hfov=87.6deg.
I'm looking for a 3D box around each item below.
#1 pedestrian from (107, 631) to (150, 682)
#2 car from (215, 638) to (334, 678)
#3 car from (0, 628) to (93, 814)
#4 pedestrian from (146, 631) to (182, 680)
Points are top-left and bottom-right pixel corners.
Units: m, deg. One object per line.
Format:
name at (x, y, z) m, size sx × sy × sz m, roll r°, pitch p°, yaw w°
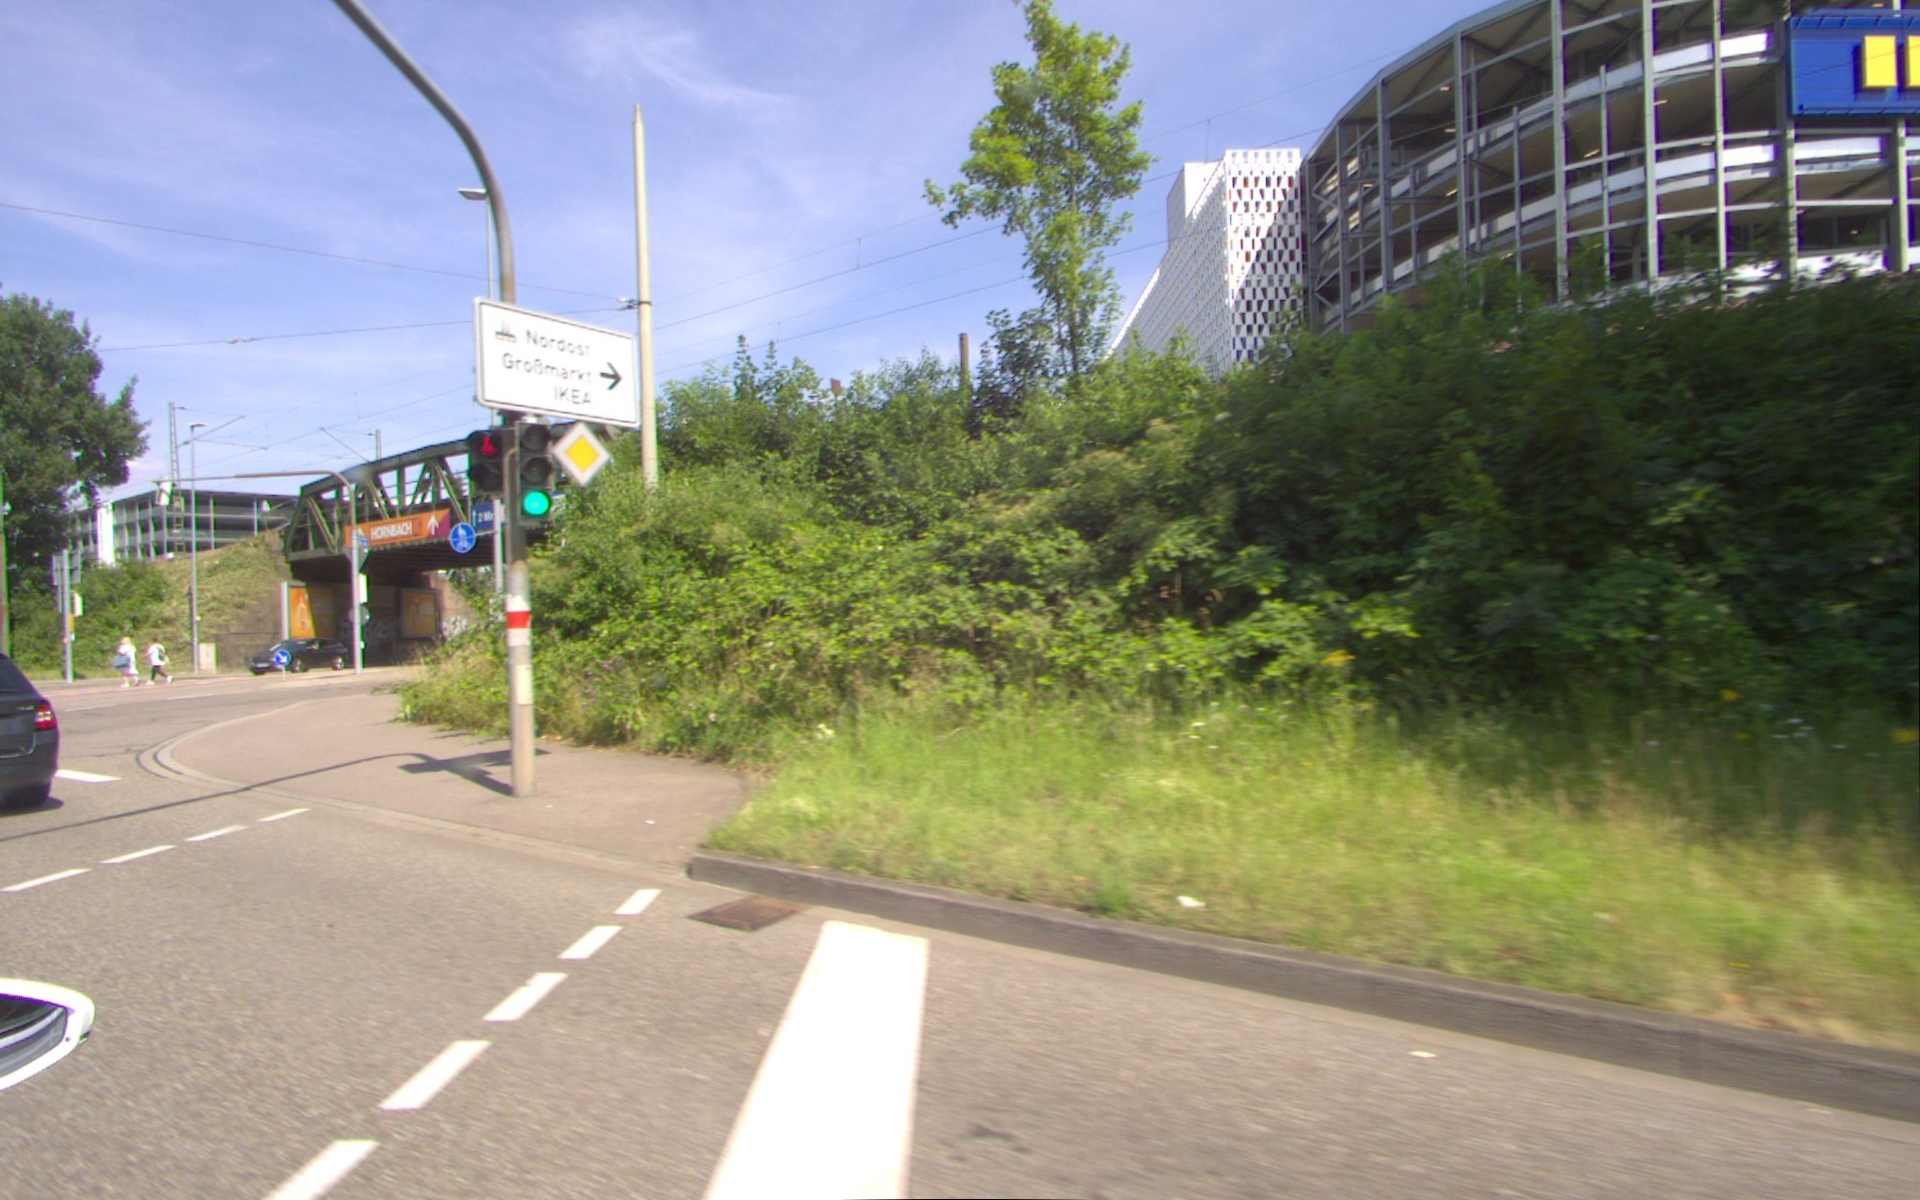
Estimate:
pedestrian at (-27.213, 1.847, 32.771) m, size 0.767 × 1.633 × 0.866 m, roll -1°, pitch 0°, yaw 33°
car at (-28.448, 2.367, 41.746) m, size 1.961 × 1.427 × 4.502 m, roll -1°, pitch -1°, yaw -2°
car at (-9.431, 0.996, 8.723) m, size 3.976 × 1.472 × 1.672 m, roll -1°, pitch -2°, yaw 31°
pedestrian at (-26.565, 1.849, 33.418) m, size 0.767 × 1.600 × 0.727 m, roll -1°, pitch 0°, yaw 33°
